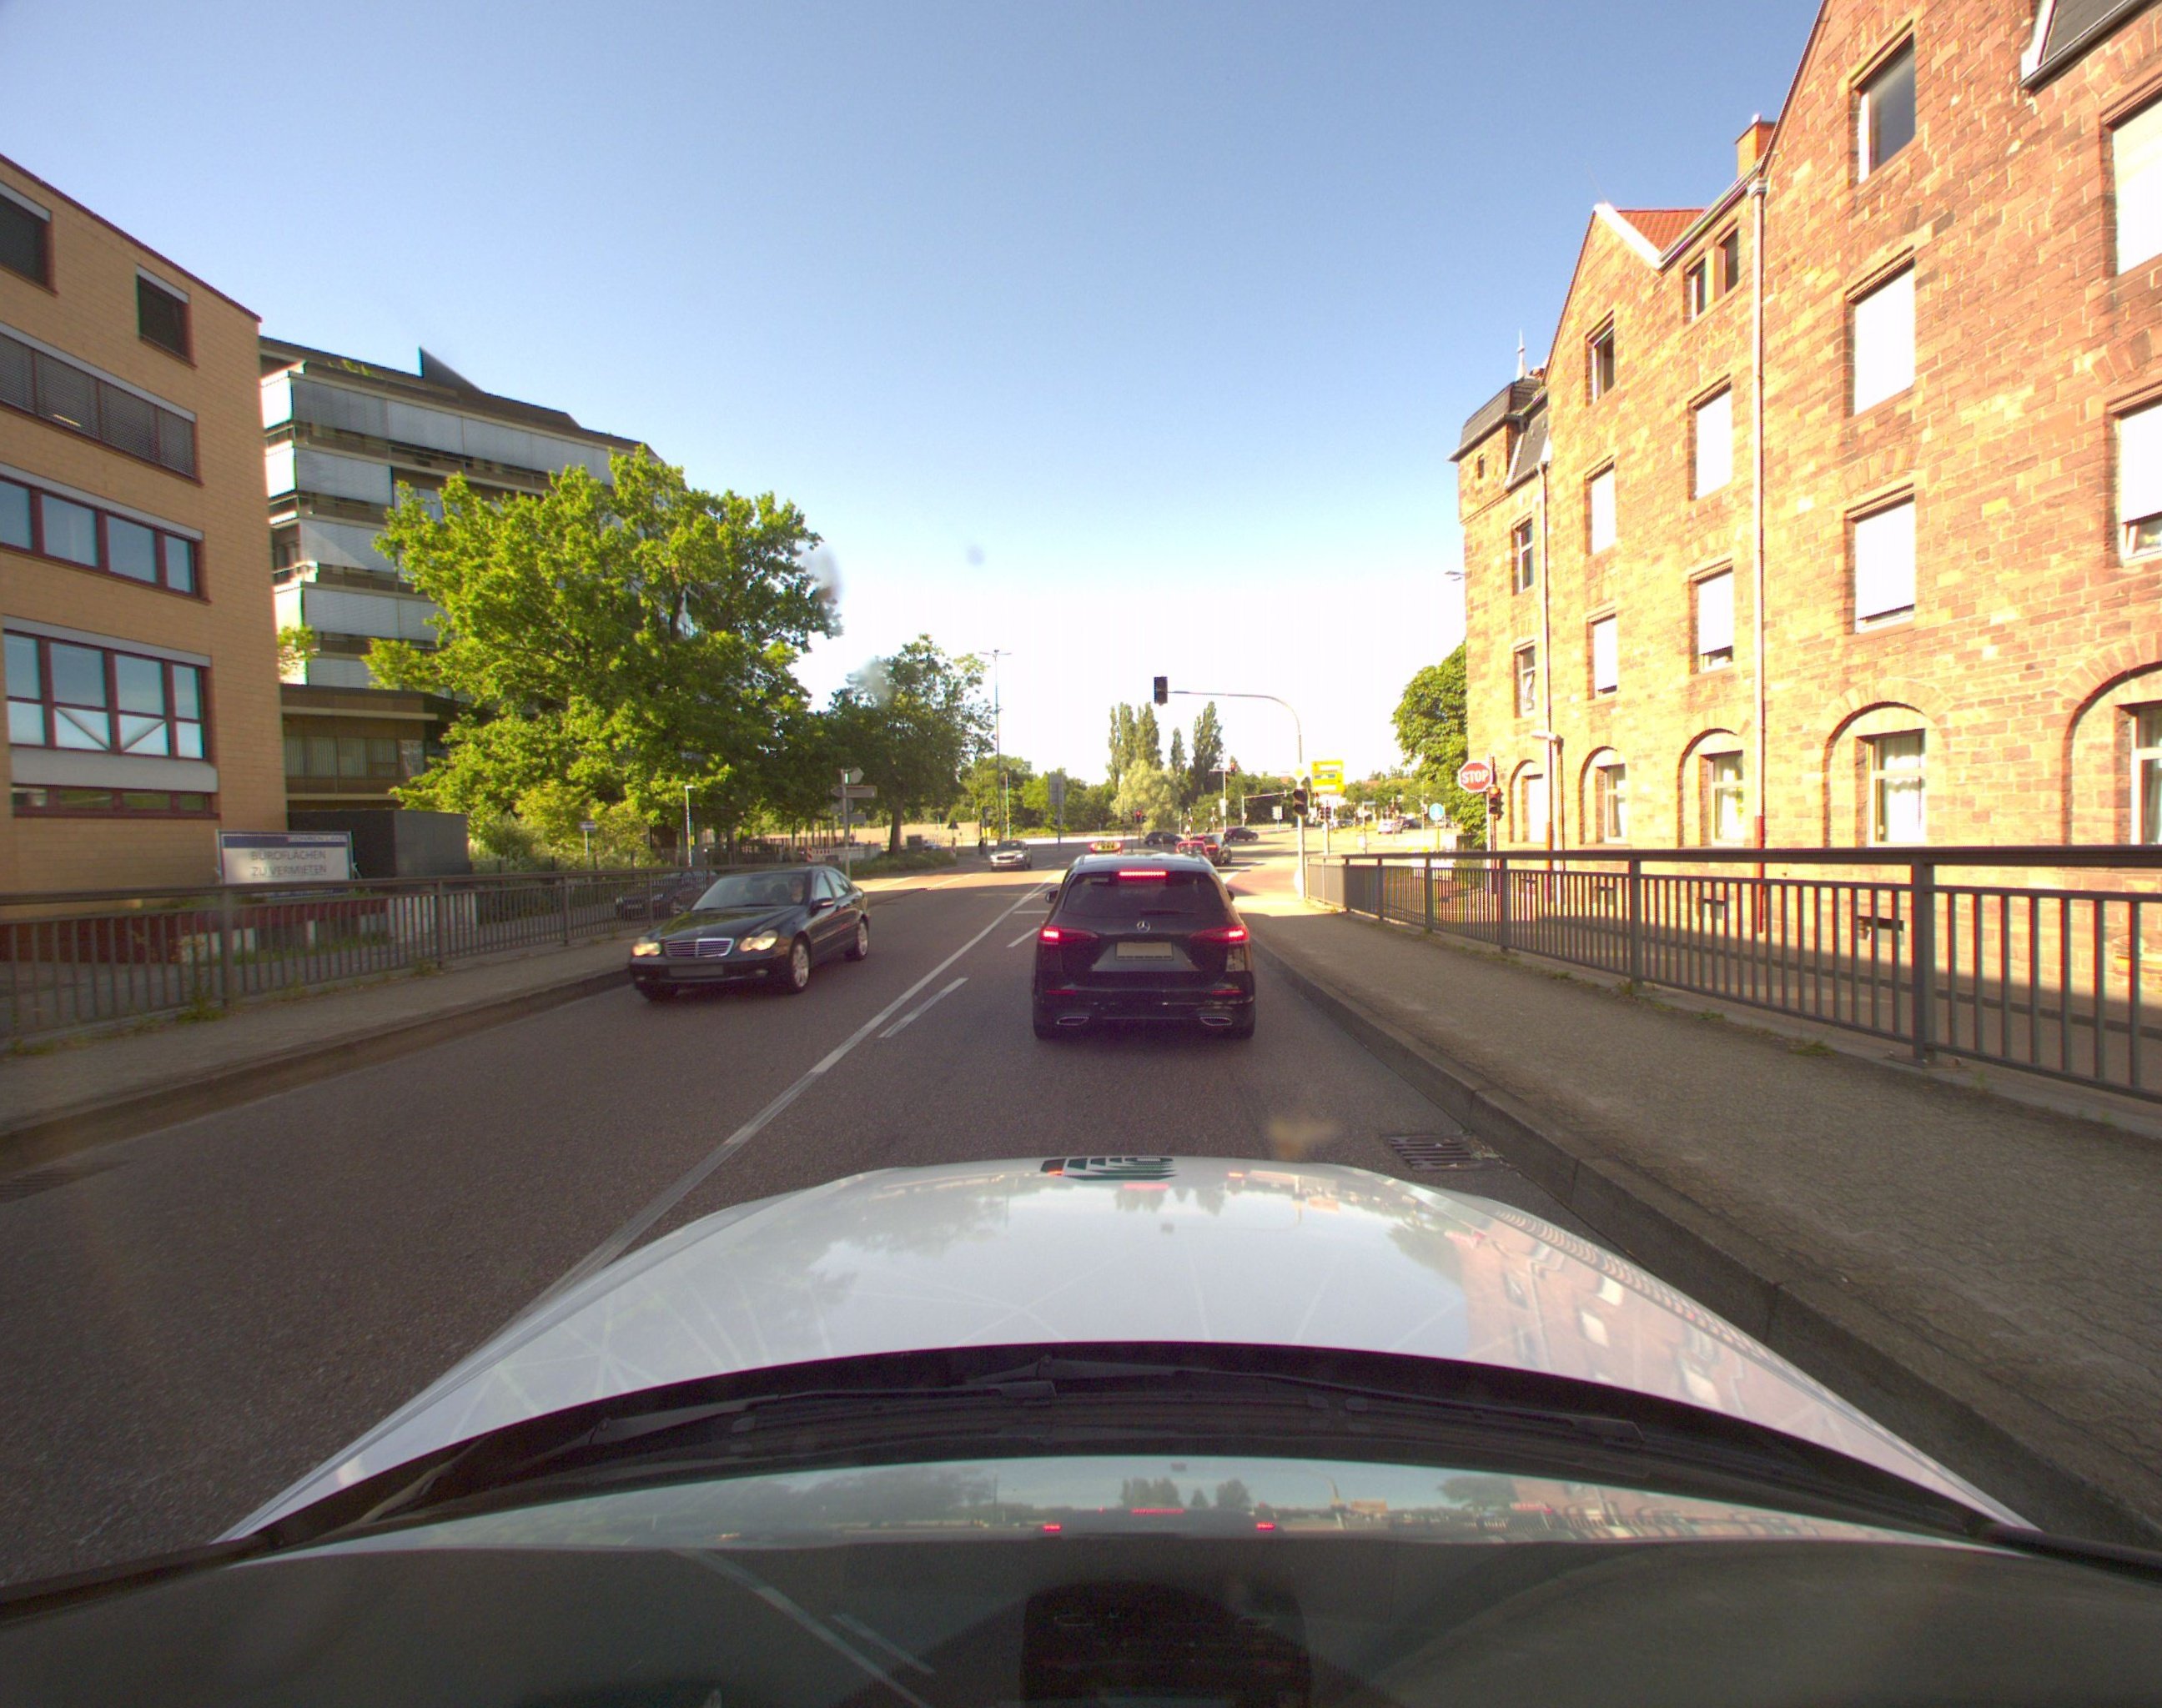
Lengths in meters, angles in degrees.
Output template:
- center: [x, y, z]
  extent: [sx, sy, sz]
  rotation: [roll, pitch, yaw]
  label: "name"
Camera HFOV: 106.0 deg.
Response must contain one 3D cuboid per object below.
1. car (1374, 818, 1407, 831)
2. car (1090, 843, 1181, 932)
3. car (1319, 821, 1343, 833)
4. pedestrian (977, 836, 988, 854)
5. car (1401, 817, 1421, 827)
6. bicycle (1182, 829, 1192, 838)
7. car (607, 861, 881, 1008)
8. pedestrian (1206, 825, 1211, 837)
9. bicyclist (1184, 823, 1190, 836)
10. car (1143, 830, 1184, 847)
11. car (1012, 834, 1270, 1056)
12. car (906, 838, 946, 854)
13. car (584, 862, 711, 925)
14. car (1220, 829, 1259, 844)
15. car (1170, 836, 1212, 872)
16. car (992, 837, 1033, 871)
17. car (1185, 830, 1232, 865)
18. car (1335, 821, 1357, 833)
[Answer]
- center: [36.832, -3.474, 96.811]
  extent: [1.975, 1.365, 4.341]
  rotation: [0, 3, 45]
  label: "car"
- center: [1.134, 0.605, 16.828]
  extent: [1.632, 1.529, 3.478]
  rotation: [-2, 1, 4]
  label: "car"
- center: [35.071, -3.755, 114.106]
  extent: [1.860, 1.578, 4.026]
  rotation: [-1, 2, 38]
  label: "car"
- center: [-8.302, -0.785, 68.391]
  extent: [0.700, 1.525, 0.746]
  rotation: [-1, 1, 12]
  label: "pedestrian"
- center: [47.882, -4.608, 118.076]
  extent: [1.862, 1.294, 4.625]
  rotation: [-1, 3, 33]
  label: "car"
- center: [13.126, -2.518, 100.696]
  extent: [0.520, 1.050, 2.002]
  rotation: [-2, 1, 28]
  label: "bicycle"
- center: [-4.006, 0.853, 10.549]
  extent: [1.736, 1.407, 4.200]
  rotation: [-2, 0, 0]
  label: "car"
- center: [17.431, -3.180, 111.274]
  extent: [0.446, 1.585, 0.504]
  rotation: [-2, 1, 42]
  label: "pedestrian"
- center: [13.113, -2.999, 100.676]
  extent: [0.520, 1.551, 0.812]
  rotation: [-2, 1, 28]
  label: "bicyclist"
- center: [8.169, -1.521, 80.908]
  extent: [3.972, 1.498, 1.745]
  rotation: [-1, 0, 1]
  label: "car"
- center: [0.500, 0.646, 7.950]
  extent: [1.871, 1.613, 4.002]
  rotation: [0, 0, 2]
  label: "car"
- center: [-16.636, -0.840, 87.472]
  extent: [3.949, 1.629, 1.903]
  rotation: [-1, 1, 30]
  label: "car"
- center: [-13.954, 1.203, 26.501]
  extent: [1.844, 1.692, 4.002]
  rotation: [-2, 2, 2]
  label: "car"
- center: [17.200, -1.859, 88.263]
  extent: [4.013, 1.547, 1.872]
  rotation: [0, -1, -32]
  label: "car"
- center: [5.376, -0.040, 39.482]
  extent: [1.710, 1.521, 3.499]
  rotation: [-1, 3, 13]
  label: "car"
- center: [-3.640, -0.017, 43.797]
  extent: [1.798, 1.623, 4.000]
  rotation: [-2, 2, 0]
  label: "car"
- center: [7.098, -0.363, 45.061]
  extent: [1.707, 1.812, 4.319]
  rotation: [-2, 0, 20]
  label: "car"
- center: [38.769, -4.003, 119.179]
  extent: [1.860, 1.578, 4.026]
  rotation: [-1, 2, 38]
  label: "car"
